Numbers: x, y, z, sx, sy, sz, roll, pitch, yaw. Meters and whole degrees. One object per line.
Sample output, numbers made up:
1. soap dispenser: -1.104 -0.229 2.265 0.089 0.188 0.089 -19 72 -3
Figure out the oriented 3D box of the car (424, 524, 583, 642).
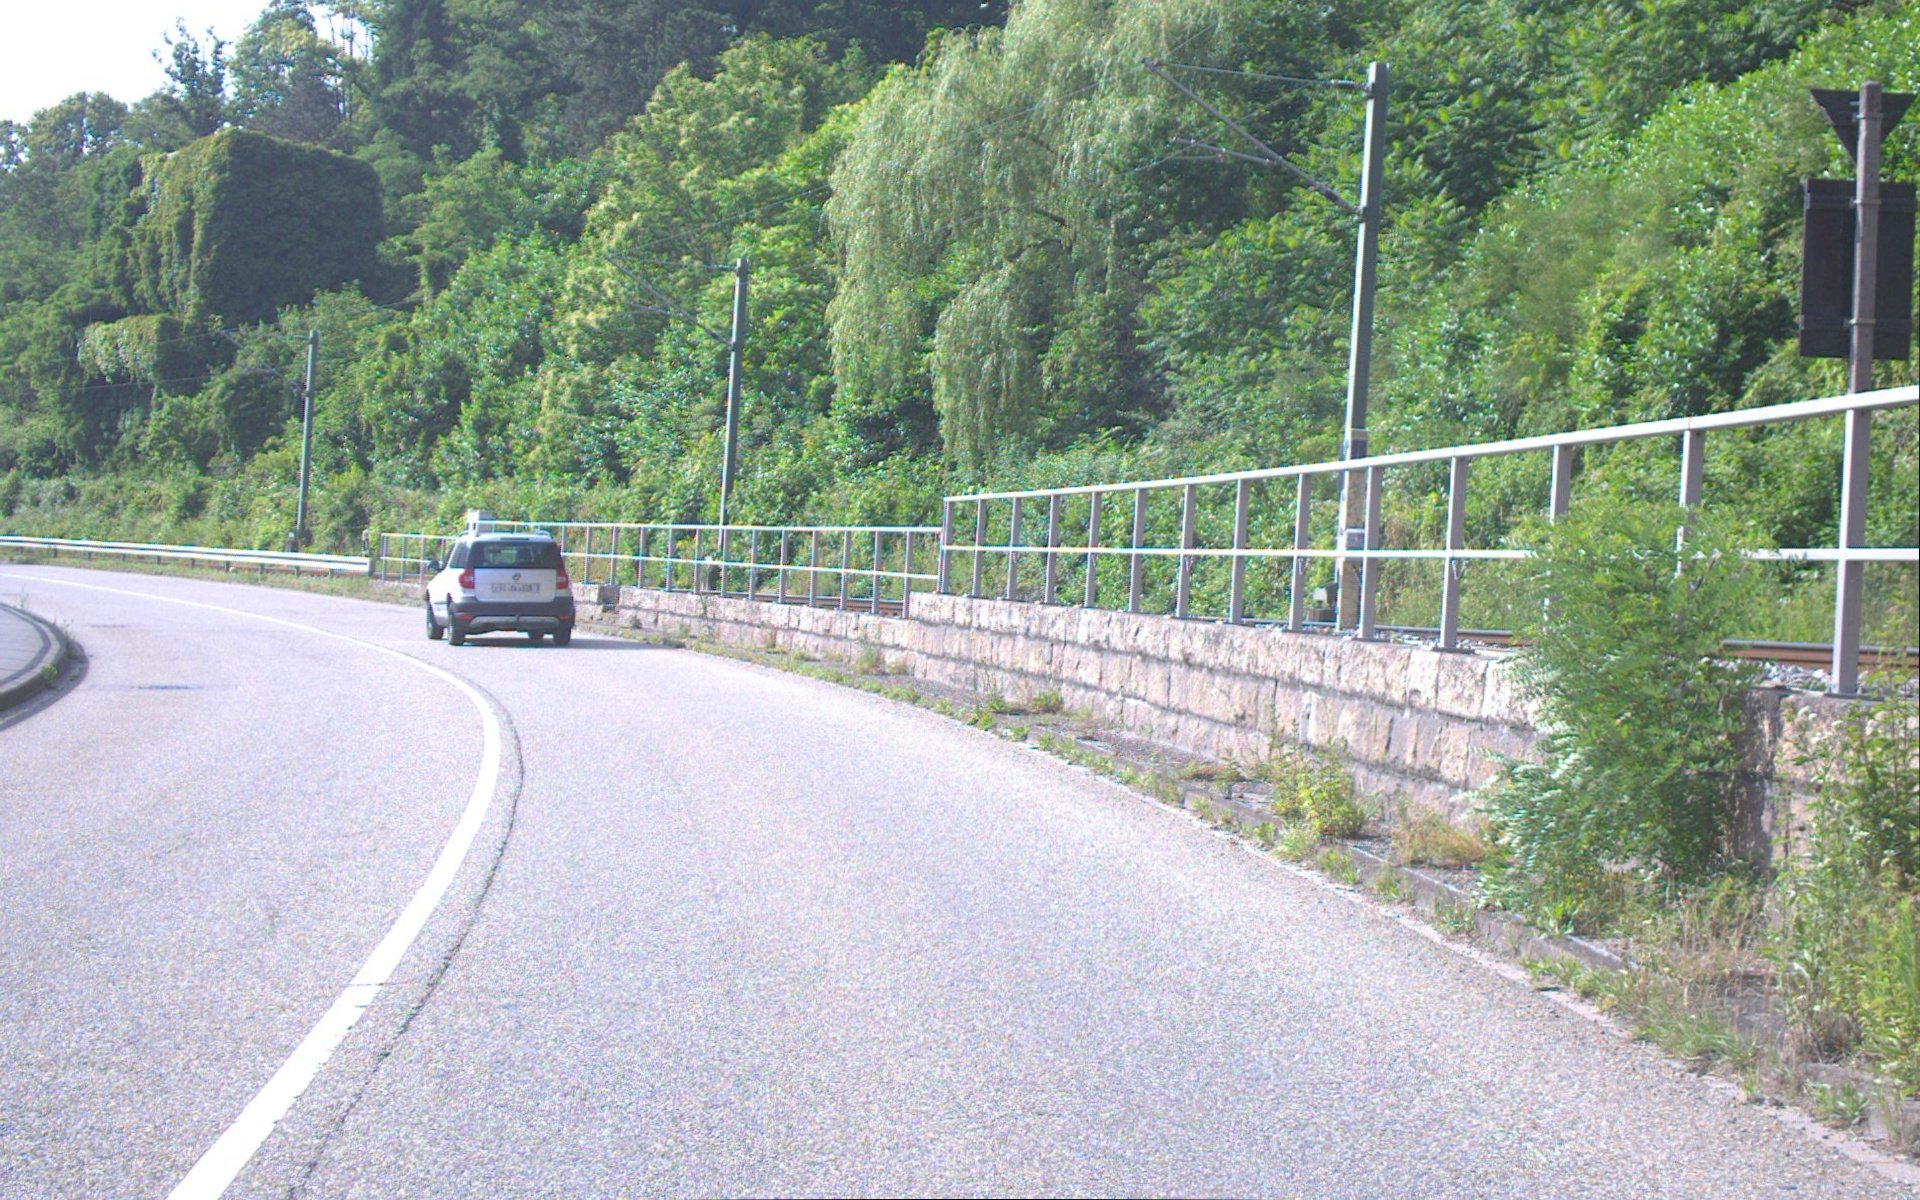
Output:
1. car: -6.798 -0.283 50.866 1.872 1.650 4.001 1 1 -14
